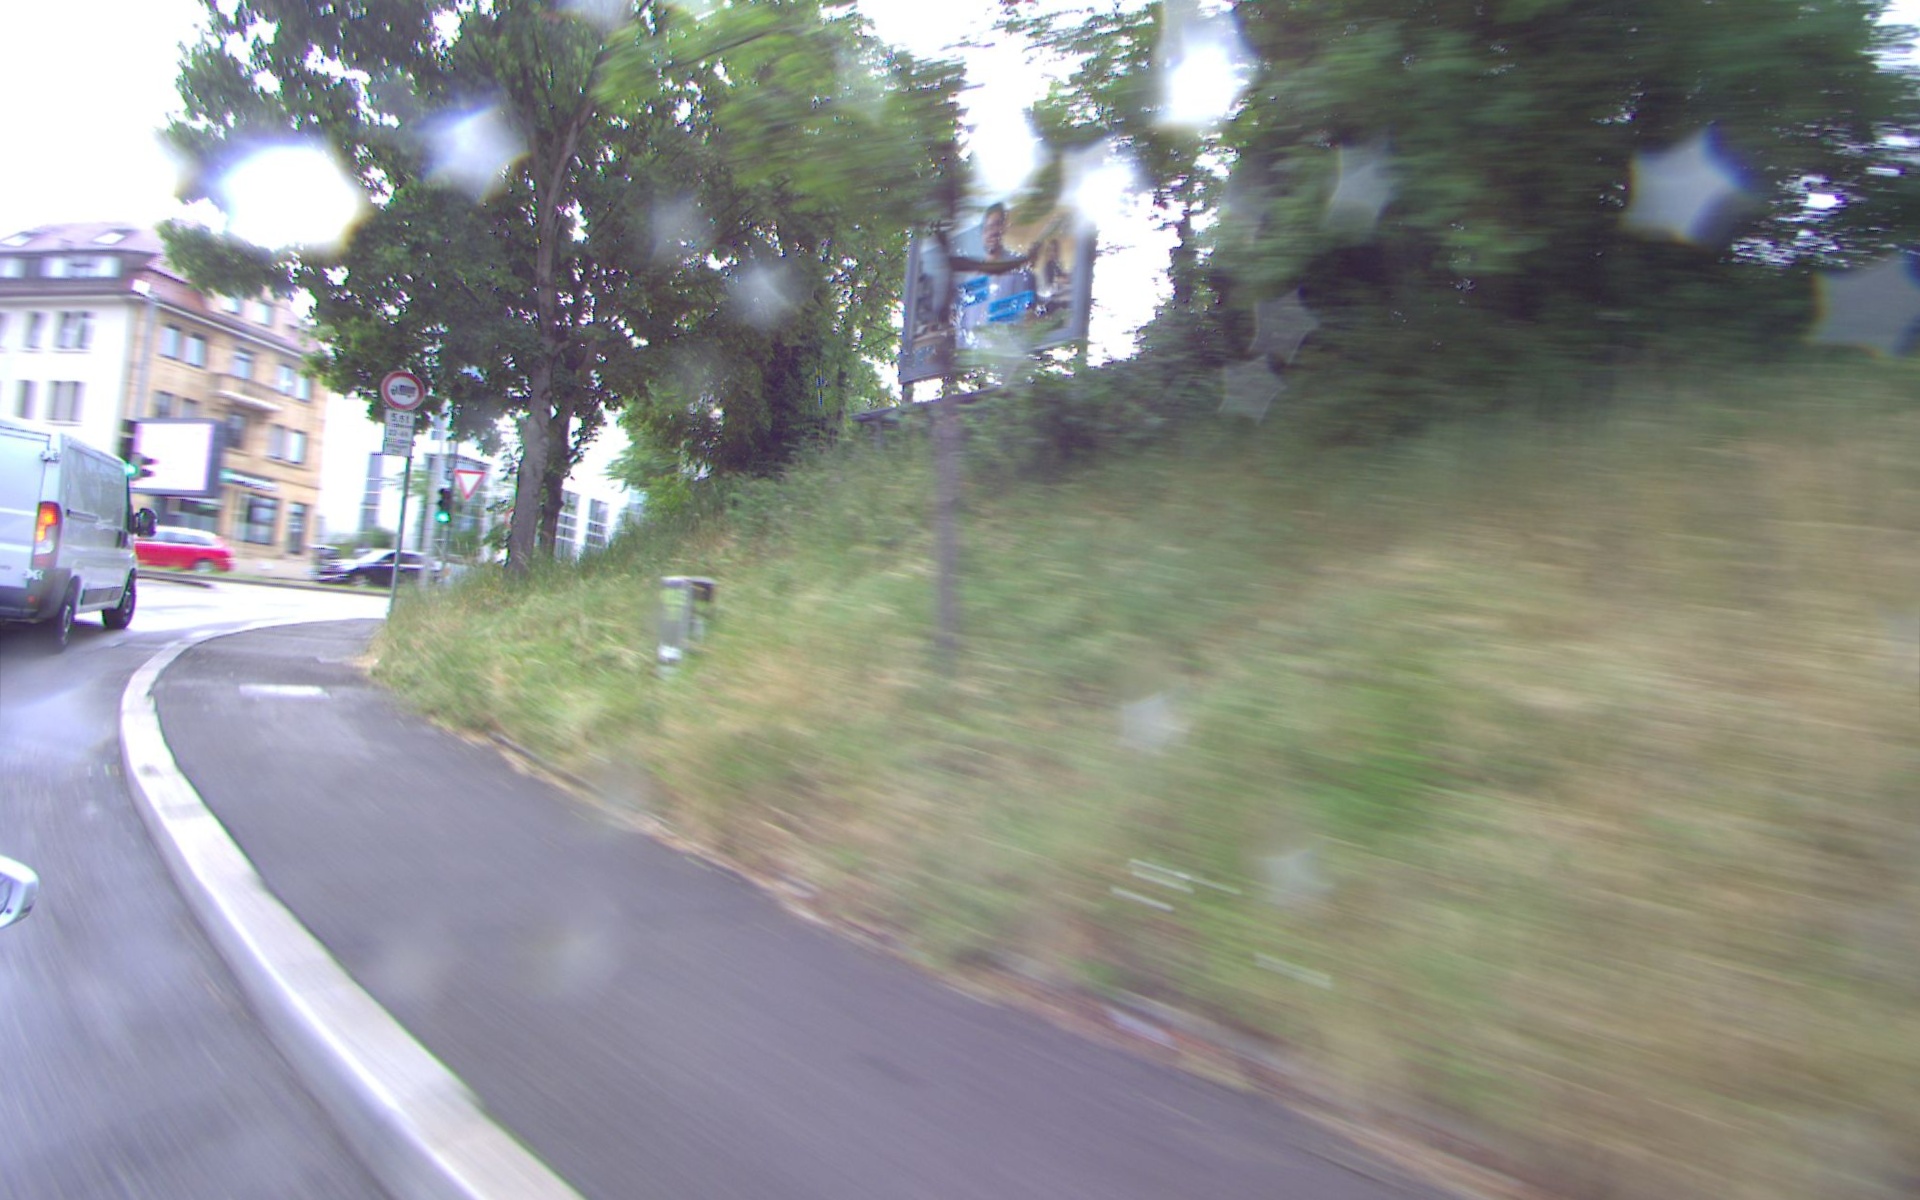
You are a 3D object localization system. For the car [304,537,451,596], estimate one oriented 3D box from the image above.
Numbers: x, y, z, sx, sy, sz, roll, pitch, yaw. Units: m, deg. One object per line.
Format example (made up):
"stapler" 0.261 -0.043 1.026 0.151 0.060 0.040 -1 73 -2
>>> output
"car" -22.261 -1.242 38.660 1.925 1.717 4.627 4 -2 21

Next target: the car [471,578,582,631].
"car" -15.359 0.197 35.818 1.667 1.441 3.372 6 -4 20

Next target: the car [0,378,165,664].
"car" -10.484 -0.941 10.927 2.037 2.545 4.902 9 -2 -32

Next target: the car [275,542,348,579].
"car" -36.125 -2.192 56.034 2.994 1.694 1.719 4 -4 16

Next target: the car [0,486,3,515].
"car" -27.761 -2.410 25.130 1.904 1.839 5.173 4 -3 21

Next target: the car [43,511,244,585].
"car" -25.152 -1.556 31.208 1.778 1.547 4.448 4 -4 20
